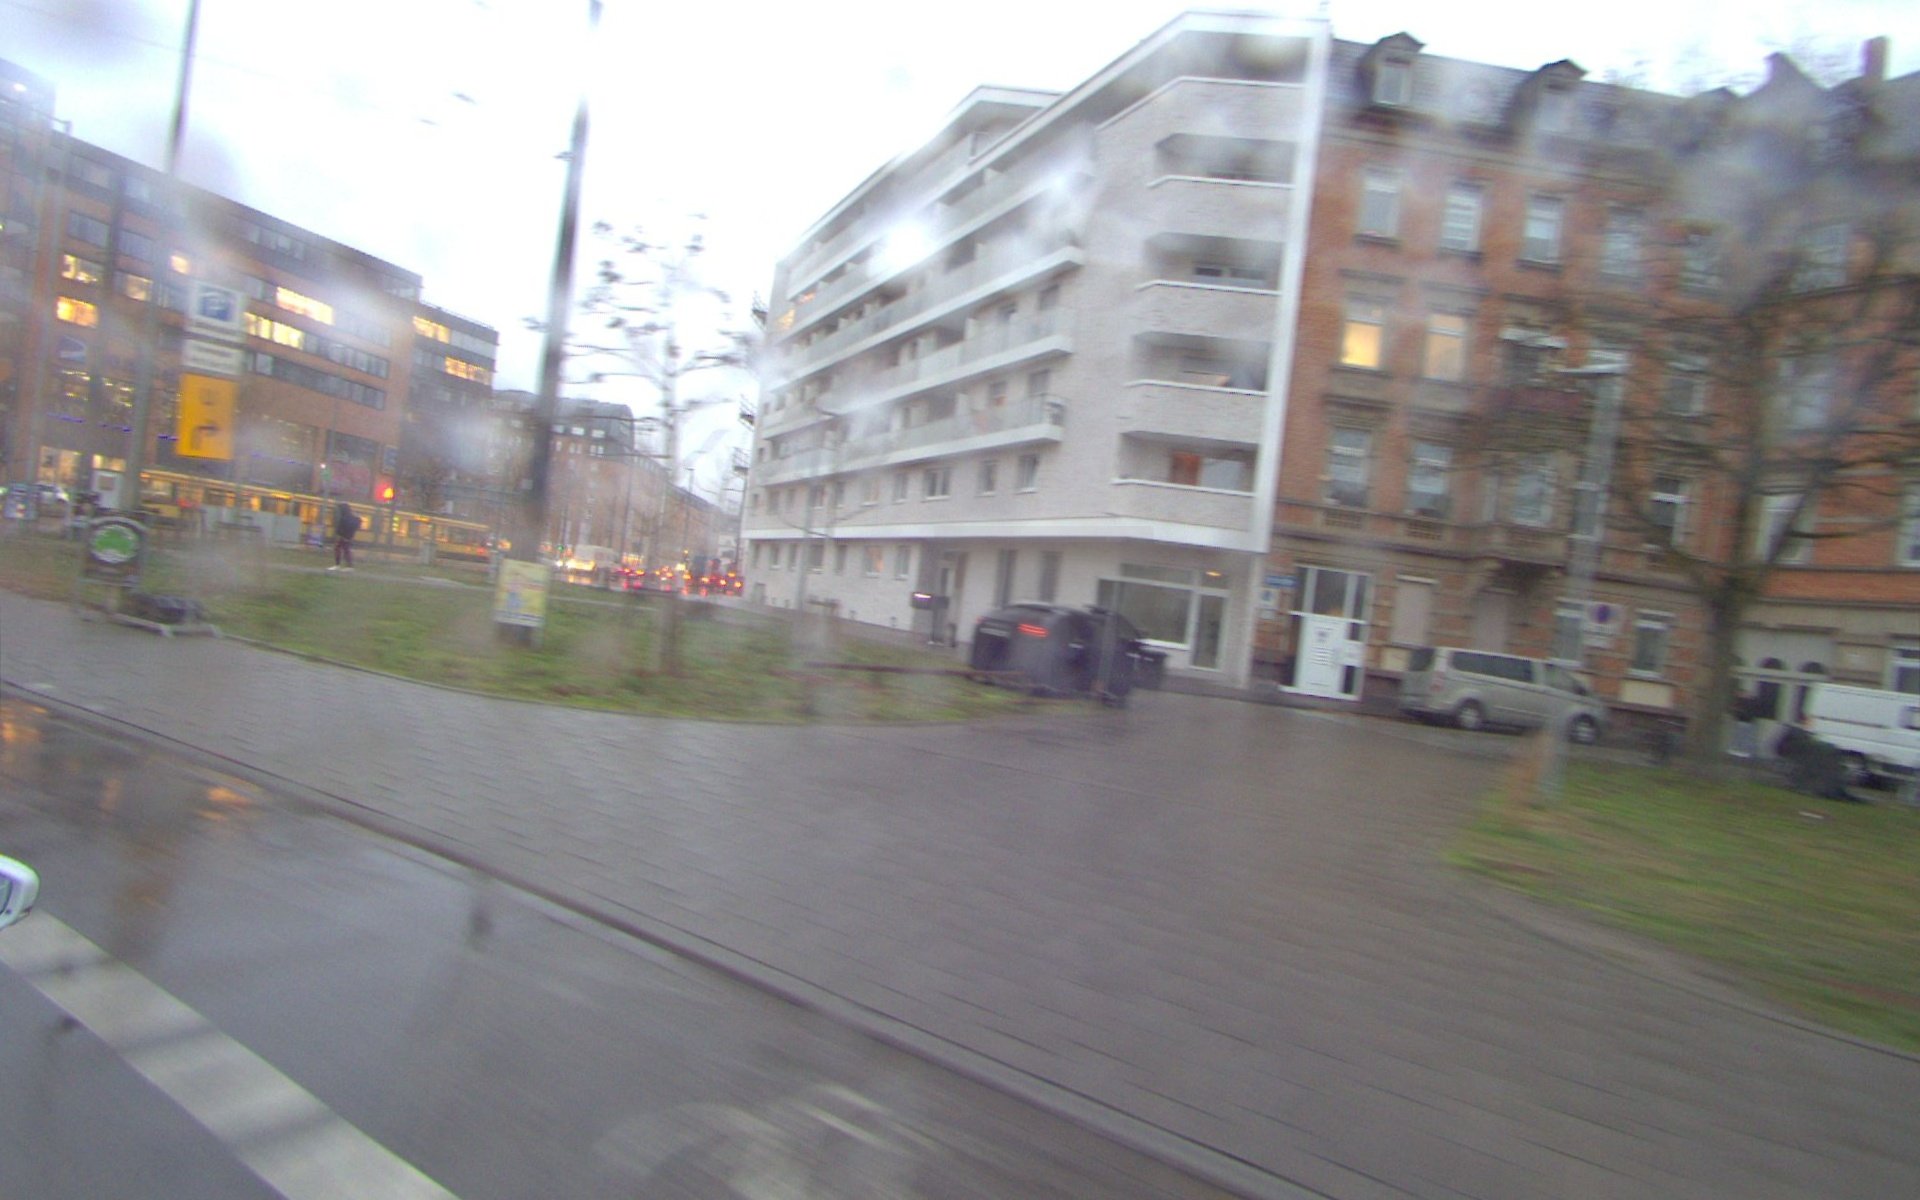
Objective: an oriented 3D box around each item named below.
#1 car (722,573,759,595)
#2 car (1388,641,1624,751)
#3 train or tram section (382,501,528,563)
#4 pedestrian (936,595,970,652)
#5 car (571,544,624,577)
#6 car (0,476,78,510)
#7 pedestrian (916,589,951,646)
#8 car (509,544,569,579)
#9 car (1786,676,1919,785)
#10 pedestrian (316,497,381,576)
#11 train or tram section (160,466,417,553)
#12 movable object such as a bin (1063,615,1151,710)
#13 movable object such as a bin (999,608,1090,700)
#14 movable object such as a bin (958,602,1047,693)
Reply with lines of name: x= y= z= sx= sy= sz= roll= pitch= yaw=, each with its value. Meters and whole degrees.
car: x=-22.384 y=-1.594 z=102.717 sx=1.962 sy=1.600 sz=4.094 roll=8 pitch=-2 yaw=11
car: x=13.646 y=2.372 z=25.344 sx=4.664 sy=1.940 sz=2.001 roll=9 pitch=-2 yaw=-2
train or tram section: x=-39.285 y=-5.169 z=79.116 sx=2.292 sy=3.300 sz=13.008 roll=7 pitch=-1 yaw=12
pedestrian: x=-0.230 y=0.757 z=32.905 sx=0.671 sy=1.733 sz=0.624 roll=9 pitch=-2 yaw=-33
car: x=-31.124 y=-3.353 z=86.474 sx=1.962 sy=2.036 sz=4.957 roll=9 pitch=-2 yaw=8
car: x=-55.352 y=-6.398 z=59.634 sx=1.766 sy=1.406 sz=4.230 roll=7 pitch=0 yaw=20
pedestrian: x=-0.848 y=0.555 z=32.520 sx=0.671 sy=1.733 sz=0.600 roll=9 pitch=-2 yaw=-33
car: x=-32.829 y=-2.941 z=78.564 sx=1.962 sy=2.036 sz=4.005 roll=8 pitch=-2 yaw=17
car: x=21.346 y=3.020 z=21.704 sx=1.980 sy=2.039 sz=4.943 roll=6 pitch=0 yaw=-33
pedestrian: x=-16.728 y=-1.734 z=27.534 sx=1.166 sy=1.945 sz=0.888 roll=10 pitch=-2 yaw=-40
train or tram section: x=-42.334 y=-5.518 z=64.949 sx=2.292 sy=3.300 sz=16.669 roll=7 pitch=-1 yaw=12
movable object such as a bin: x=2.599 y=1.095 z=17.927 sx=1.022 sy=1.507 sz=1.037 roll=9 pitch=-2 yaw=-17
movable object such as a bin: x=1.475 y=0.936 z=17.762 sx=1.004 sy=1.434 sz=1.216 roll=6 pitch=1 yaw=-26
movable object such as a bin: x=0.778 y=0.884 z=18.941 sx=1.018 sy=1.513 sz=1.320 roll=7 pitch=0 yaw=-26
